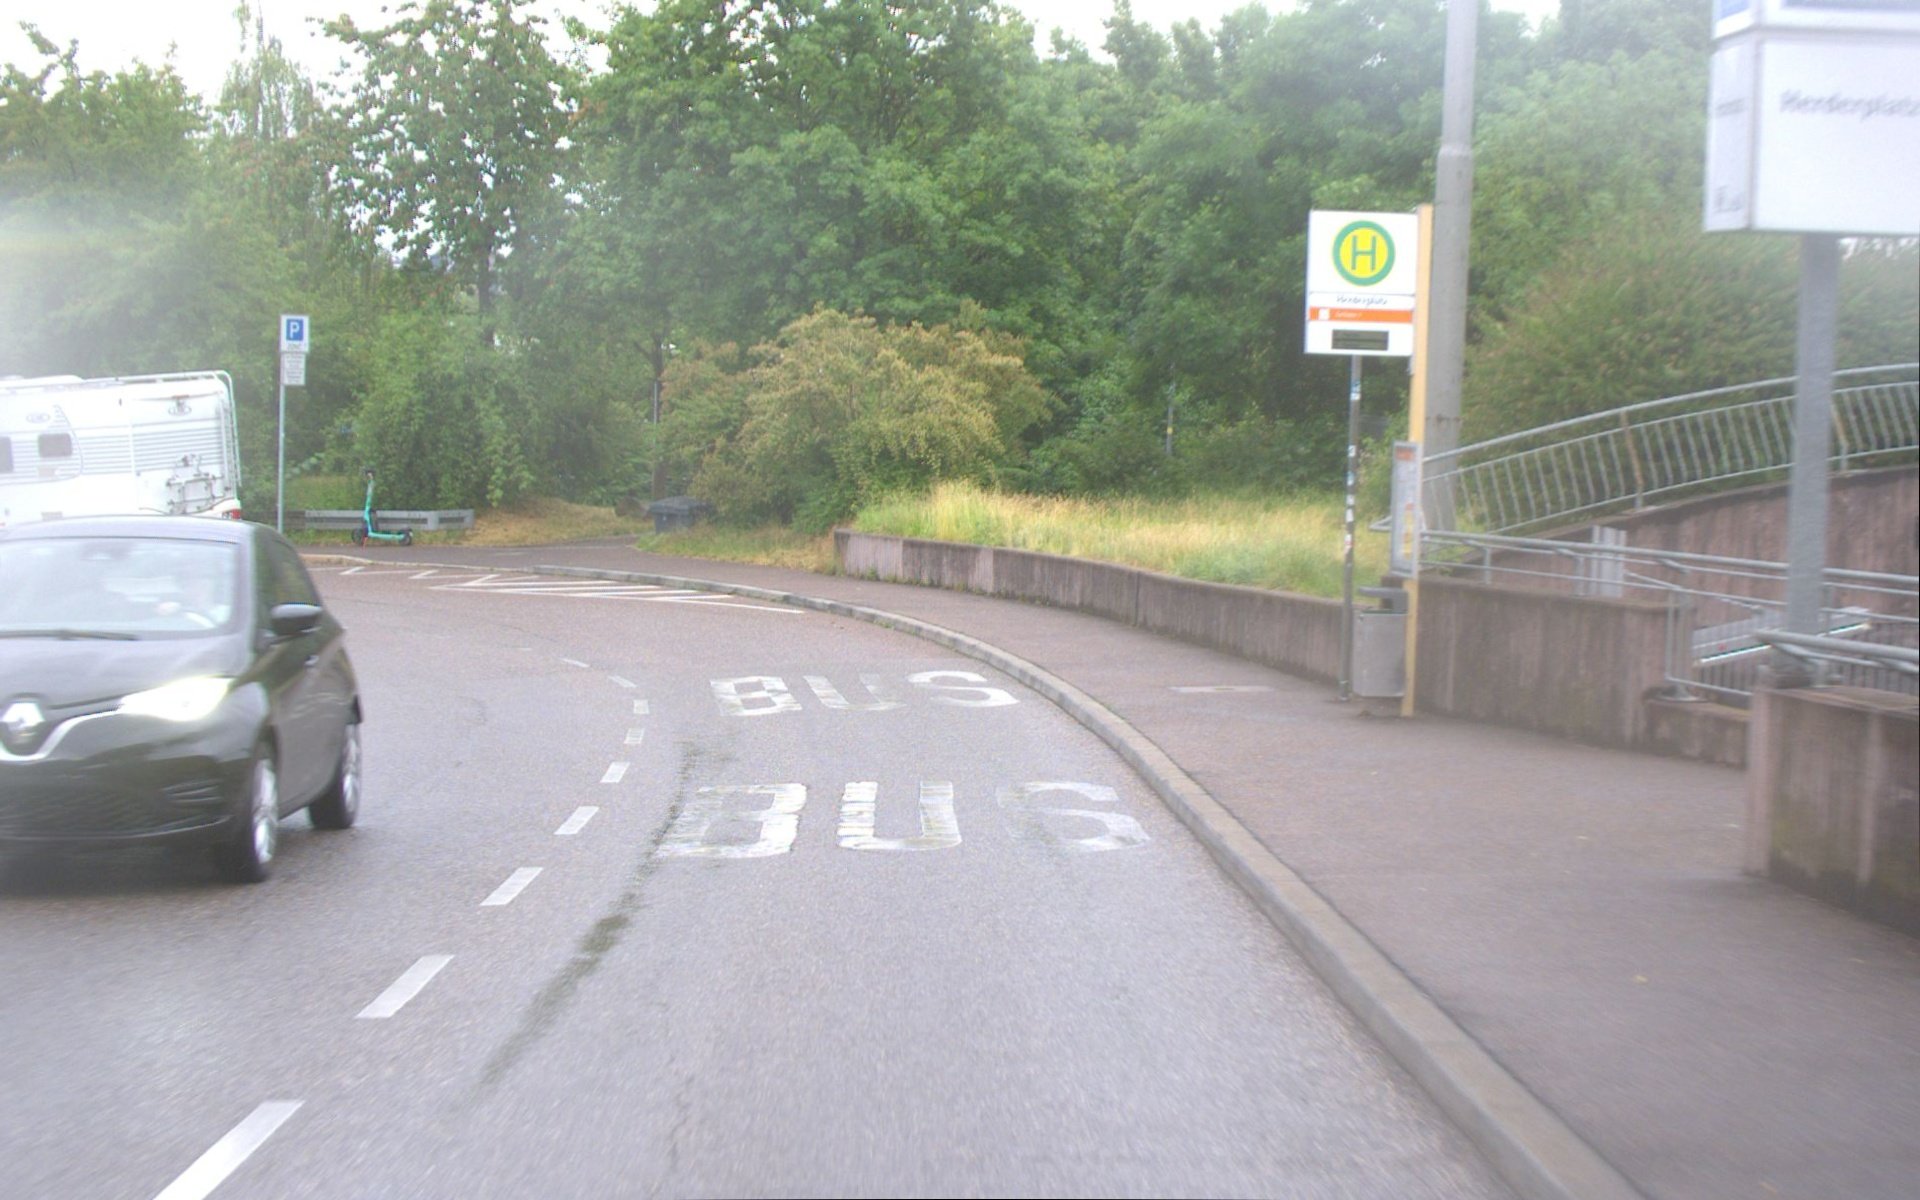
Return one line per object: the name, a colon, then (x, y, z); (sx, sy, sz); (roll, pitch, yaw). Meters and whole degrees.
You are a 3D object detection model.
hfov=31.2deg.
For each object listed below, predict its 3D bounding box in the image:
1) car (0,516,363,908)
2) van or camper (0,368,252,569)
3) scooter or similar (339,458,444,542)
car: (-3.811, 0.395, 15.511); (1.767, 1.515, 3.976); (0, 2, -3)
van or camper: (-14.501, -2.099, 54.555); (6.271, 2.933, 2.394); (1, 7, 31)
scooter or similar: (-8.979, -1.571, 54.287); (1.707, 1.278, 0.451); (0, 3, 31)
